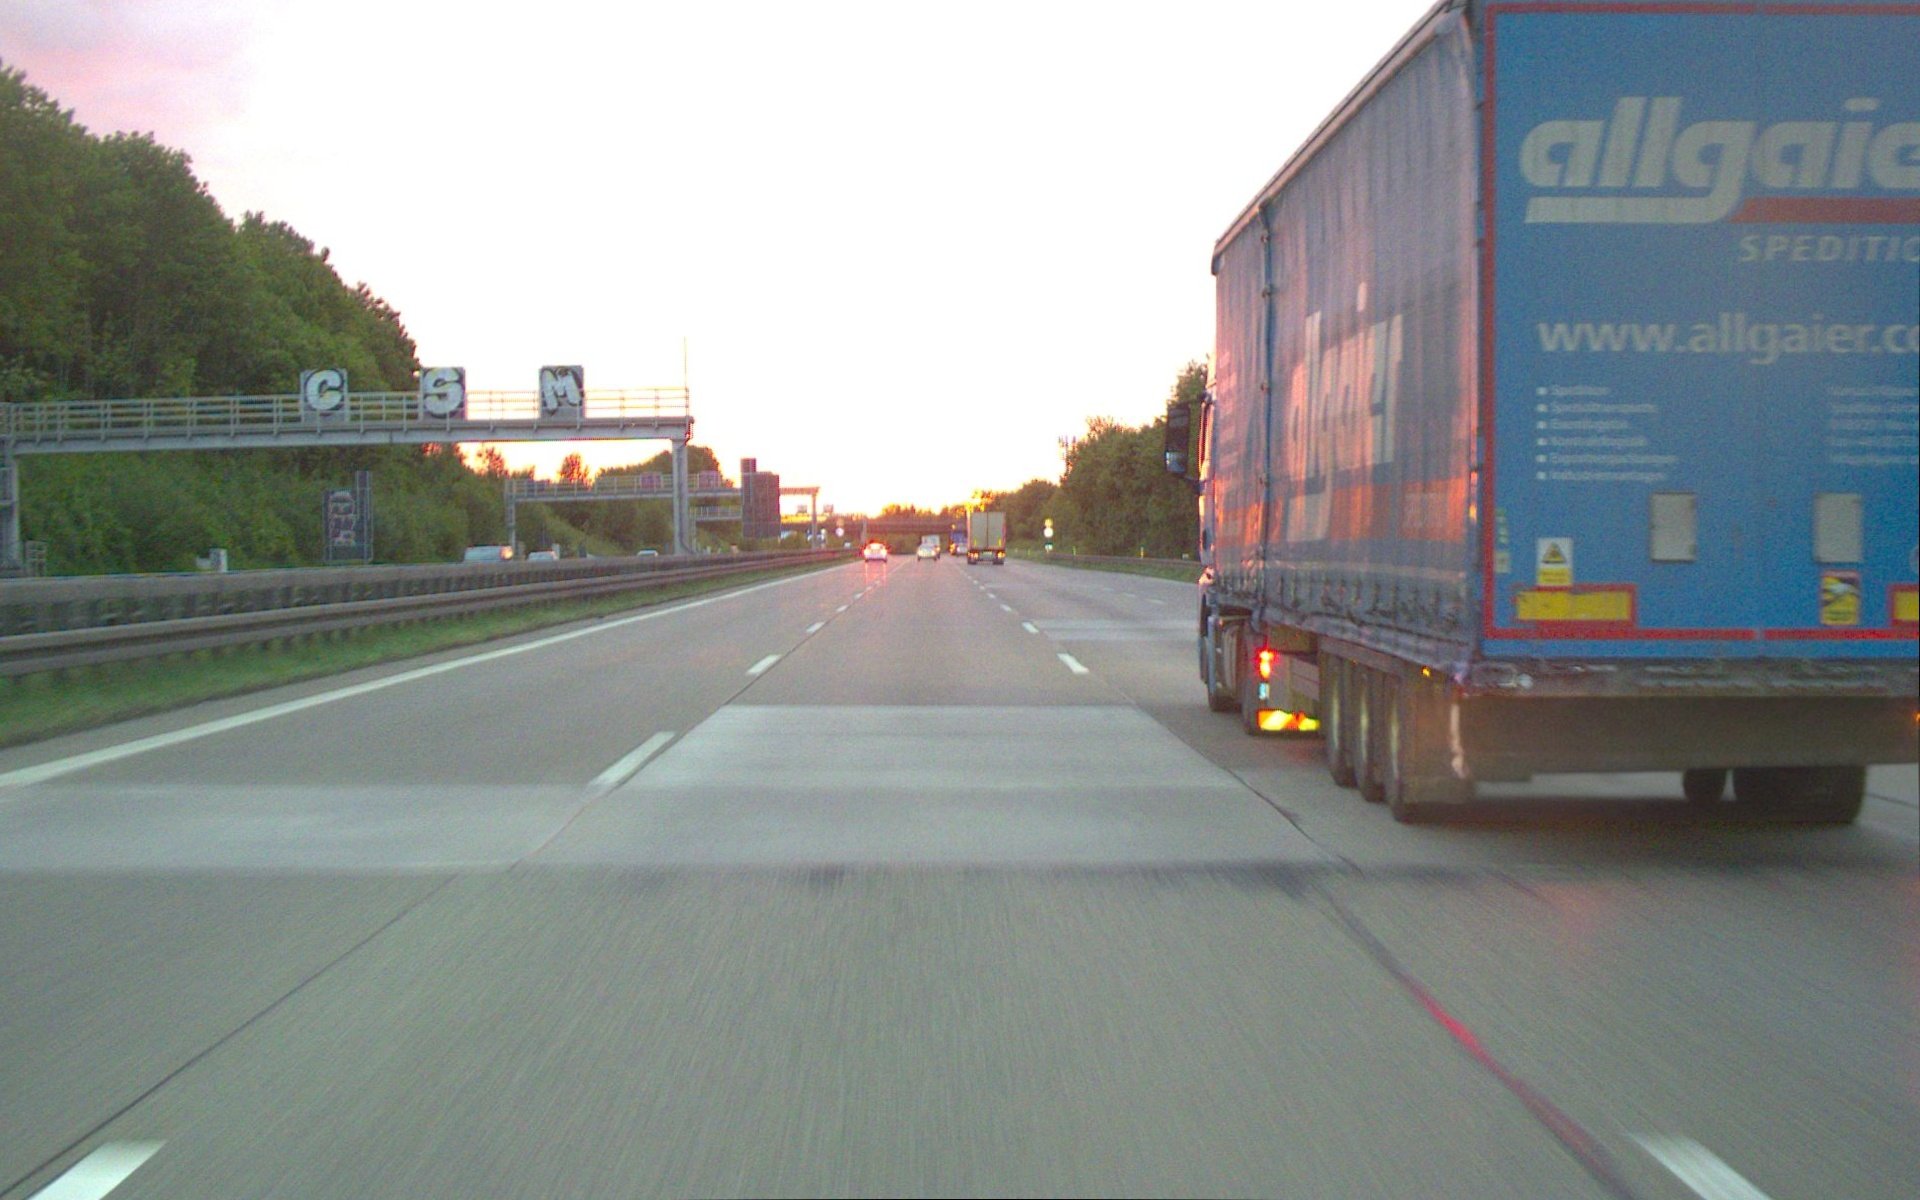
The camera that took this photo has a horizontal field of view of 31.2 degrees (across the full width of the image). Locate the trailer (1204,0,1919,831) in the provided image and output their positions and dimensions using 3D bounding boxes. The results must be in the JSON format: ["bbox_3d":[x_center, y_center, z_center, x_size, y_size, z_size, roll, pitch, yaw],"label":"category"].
[{"bbox_3d":[3.477,-1.168,21.723,2.771,4.072,13.740,0,1,0],"label":"trailer"}]

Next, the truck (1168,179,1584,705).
[{"bbox_3d":[3.347,-1.254,29.117,2.736,3.983,5.850,0,1,0],"label":"truck"}]

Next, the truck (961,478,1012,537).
[{"bbox_3d":[1.866,-6.673,250.113,3.244,4.113,9.787,-1,1,-2],"label":"truck"}]
